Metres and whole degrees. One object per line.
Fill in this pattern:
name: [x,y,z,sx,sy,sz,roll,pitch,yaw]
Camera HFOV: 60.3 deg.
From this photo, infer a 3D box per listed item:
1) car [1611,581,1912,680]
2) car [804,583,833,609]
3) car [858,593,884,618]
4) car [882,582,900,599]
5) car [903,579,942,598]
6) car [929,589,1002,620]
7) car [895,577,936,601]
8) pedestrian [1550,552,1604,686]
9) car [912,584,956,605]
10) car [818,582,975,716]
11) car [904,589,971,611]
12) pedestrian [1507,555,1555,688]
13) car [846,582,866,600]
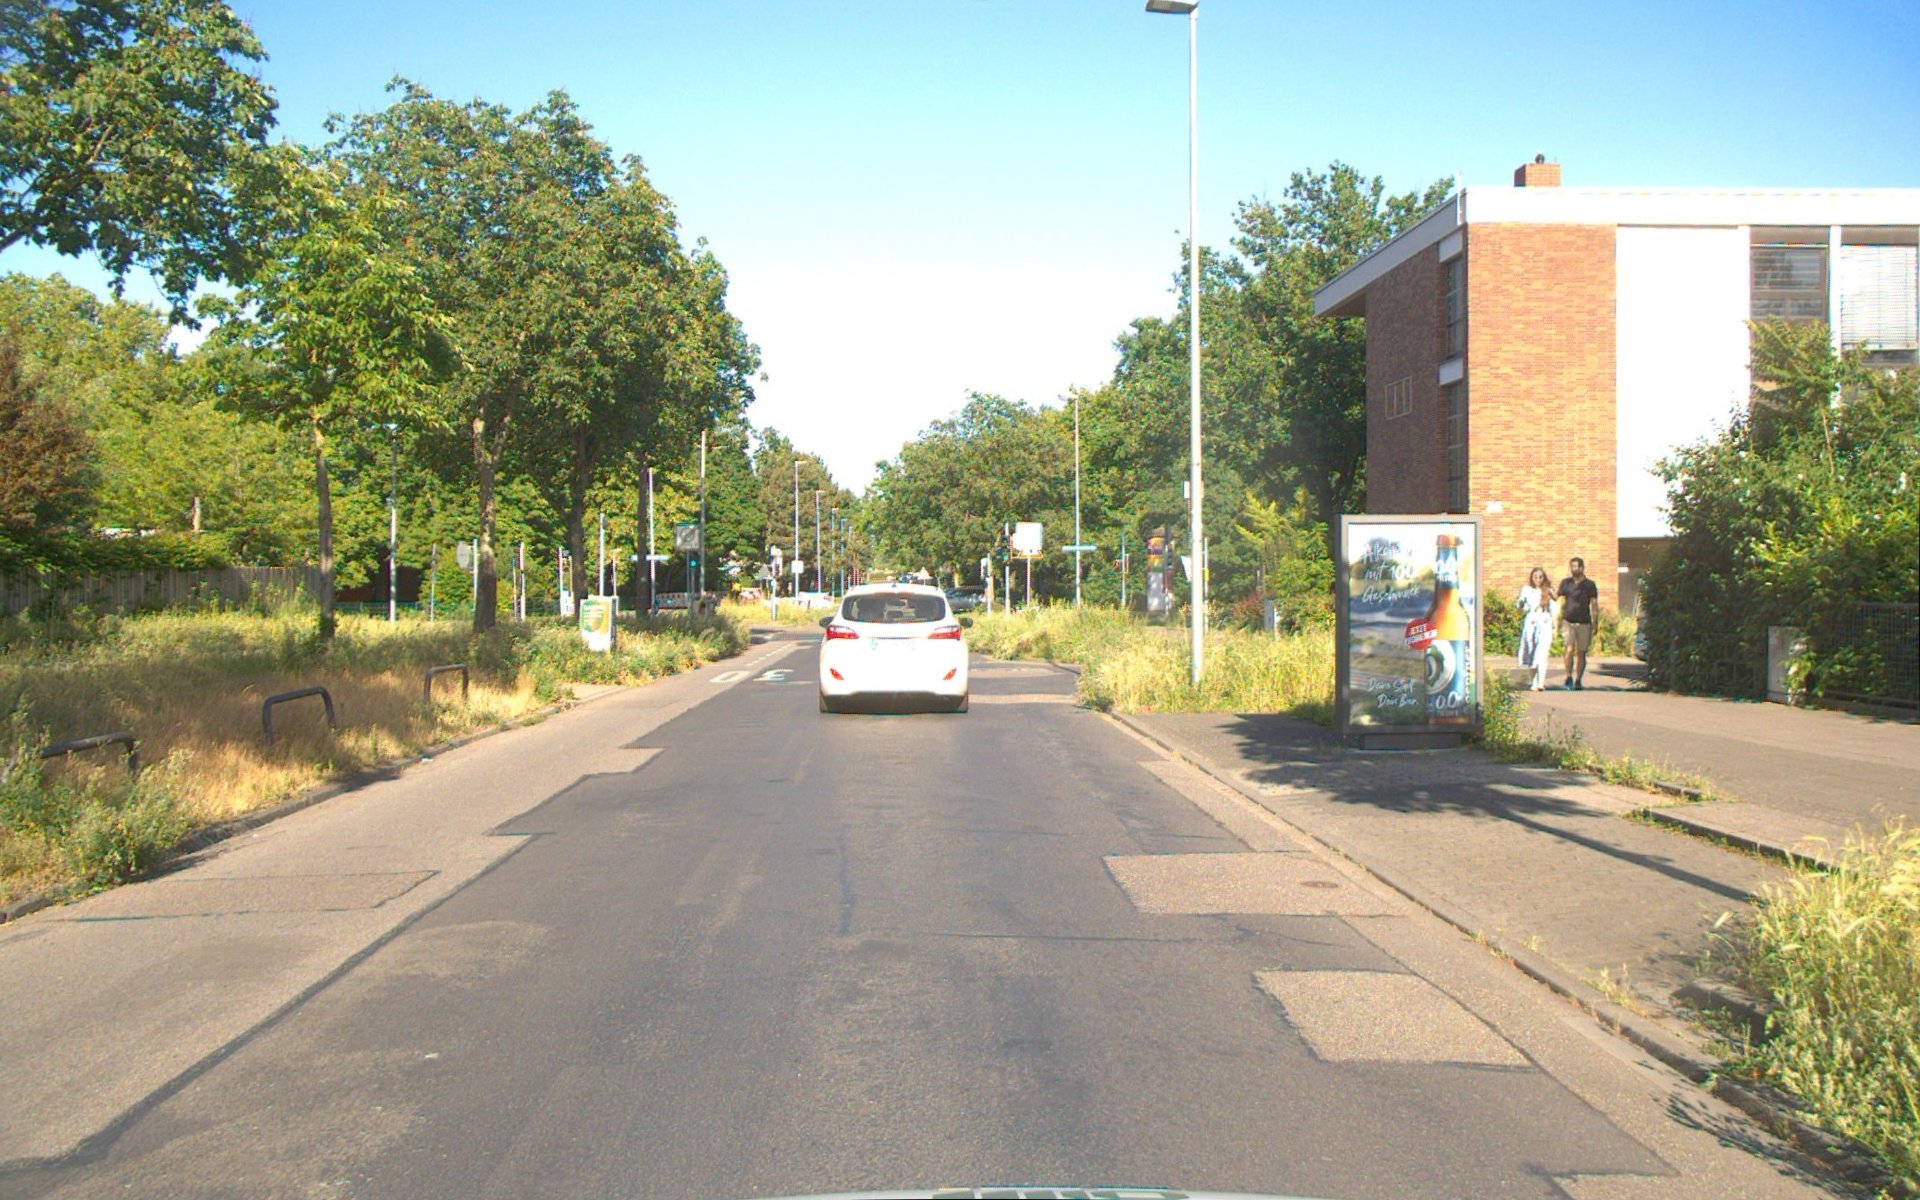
car: [13.154,0.471,27.290,4.110,1.528,1.806,0,1,-2]
car: [-10.654,-0.303,124.609,1.953,1.847,3.999,1,1,-2]
car: [-7.158,0.434,133.766,1.954,1.847,3.999,2,1,-2]
car: [-7.451,-1.009,179.361,1.953,1.847,3.998,1,0,-2]
car: [-4.066,-1.271,180.210,4.215,1.941,1.862,1,0,-3]
car: [0.338,0.257,100.959,4.406,1.814,1.855,0,0,0]
car: [-4.107,-1.014,152.870,3.742,2.135,1.862,1,0,-3]
pedestrian: [8.272,0.253,22.203,0.593,1.763,0.640,1,0,14]
car: [-2.248,-0.482,142.914,3.742,1.713,1.862,1,0,-3]
car: [-0.789,0.528,20.476,1.753,1.489,3.961,0,0,-3]
car: [-1.865,-0.019,136.346,5.501,1.713,1.947,1,0,-3]
pedestrian: [7.703,0.287,22.337,0.542,1.763,0.662,1,0,14]
car: [-10.841,-0.973,172.882,1.953,1.847,3.998,0,1,-2]
